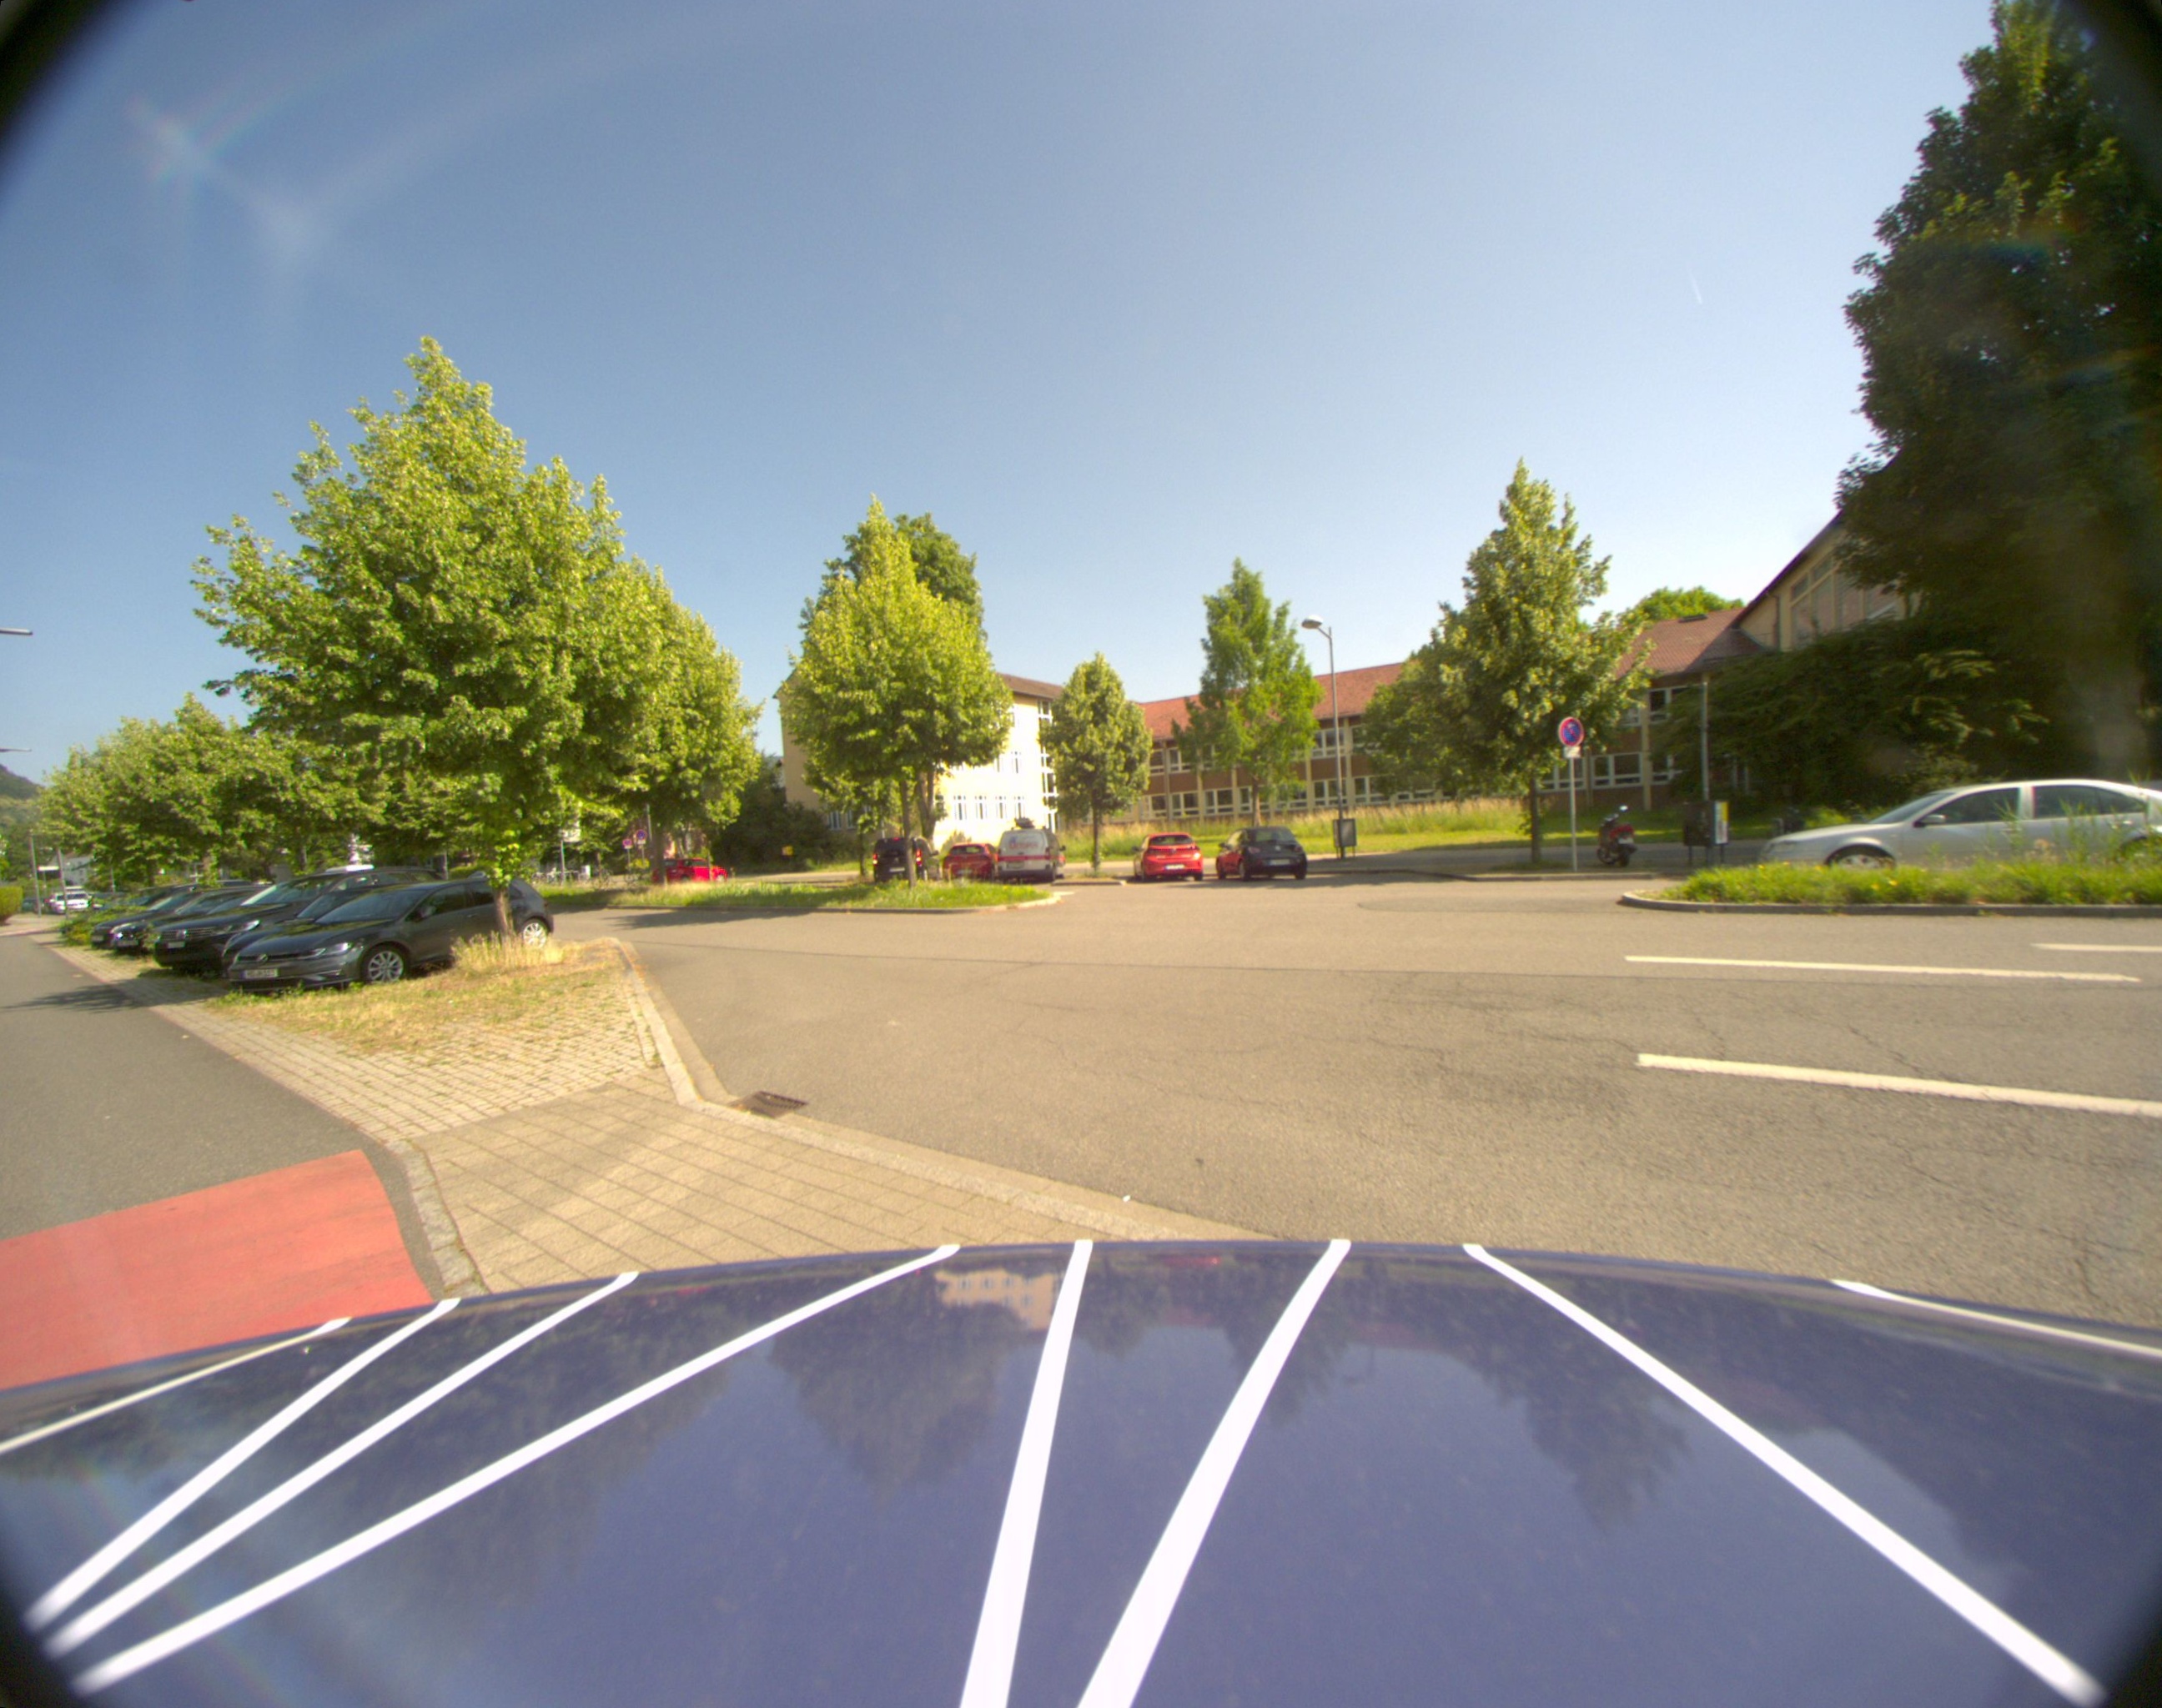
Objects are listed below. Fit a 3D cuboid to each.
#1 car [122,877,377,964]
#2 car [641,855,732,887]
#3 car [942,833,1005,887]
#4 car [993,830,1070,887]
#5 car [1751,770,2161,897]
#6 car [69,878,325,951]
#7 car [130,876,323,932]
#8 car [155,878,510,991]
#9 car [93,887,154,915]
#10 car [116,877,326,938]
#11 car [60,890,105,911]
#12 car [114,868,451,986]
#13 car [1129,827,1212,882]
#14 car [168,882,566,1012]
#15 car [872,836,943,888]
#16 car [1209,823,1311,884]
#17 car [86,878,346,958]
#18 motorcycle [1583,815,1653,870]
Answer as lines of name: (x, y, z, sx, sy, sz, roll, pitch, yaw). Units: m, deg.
car: (-19.616, 1.475, 18.266, 1.705, 1.473, 4.221, -4, 2, -7)
car: (-19.573, 0.819, 37.894, 1.878, 1.383, 3.730, -2, 1, 17)
car: (-3.783, 0.165, 27.282, 1.881, 1.712, 4.224, -2, 1, -4)
car: (-1.574, 0.098, 25.706, 1.879, 1.712, 4.227, -2, 1, 6)
car: (12.123, -0.247, 10.437, 4.149, 1.475, 1.743, -2, 3, 34)
car: (-24.509, 1.619, 21.317, 1.701, 1.473, 4.230, -3, 2, 19)
car: (-30.400, 1.726, 27.187, 1.700, 1.473, 4.232, -2, 2, 30)
car: (-13.114, 1.317, 13.780, 1.879, 1.473, 4.228, -3, 1, 8)
car: (-57.480, 2.824, 45.596, 4.215, 1.473, 1.707, -2, 3, 32)
car: (-28.232, 1.701, 25.118, 1.700, 1.473, 4.232, -2, 2, 30)
car: (-78.235, 3.641, 59.524, 4.215, 1.473, 1.707, -2, 3, 32)
car: (-15.145, 1.270, 14.877, 1.703, 1.710, 4.403, -3, 1, 3)
car: (2.583, -0.020, 22.908, 1.880, 1.451, 4.225, -2, 1, -1)
car: (-10.675, 1.289, 11.917, 1.879, 1.409, 4.228, -3, 1, 8)
car: (-6.335, 0.253, 28.191, 1.881, 1.712, 4.224, -2, 1, -4)
car: (4.912, -0.034, 21.408, 1.740, 1.451, 4.225, -3, 1, -1)
car: (-22.129, 1.551, 19.751, 1.703, 1.473, 4.225, -4, 2, 3)
motorcycle: (11.542, -0.277, 16.390, 0.556, 1.108, 1.759, -3, 2, 12)
